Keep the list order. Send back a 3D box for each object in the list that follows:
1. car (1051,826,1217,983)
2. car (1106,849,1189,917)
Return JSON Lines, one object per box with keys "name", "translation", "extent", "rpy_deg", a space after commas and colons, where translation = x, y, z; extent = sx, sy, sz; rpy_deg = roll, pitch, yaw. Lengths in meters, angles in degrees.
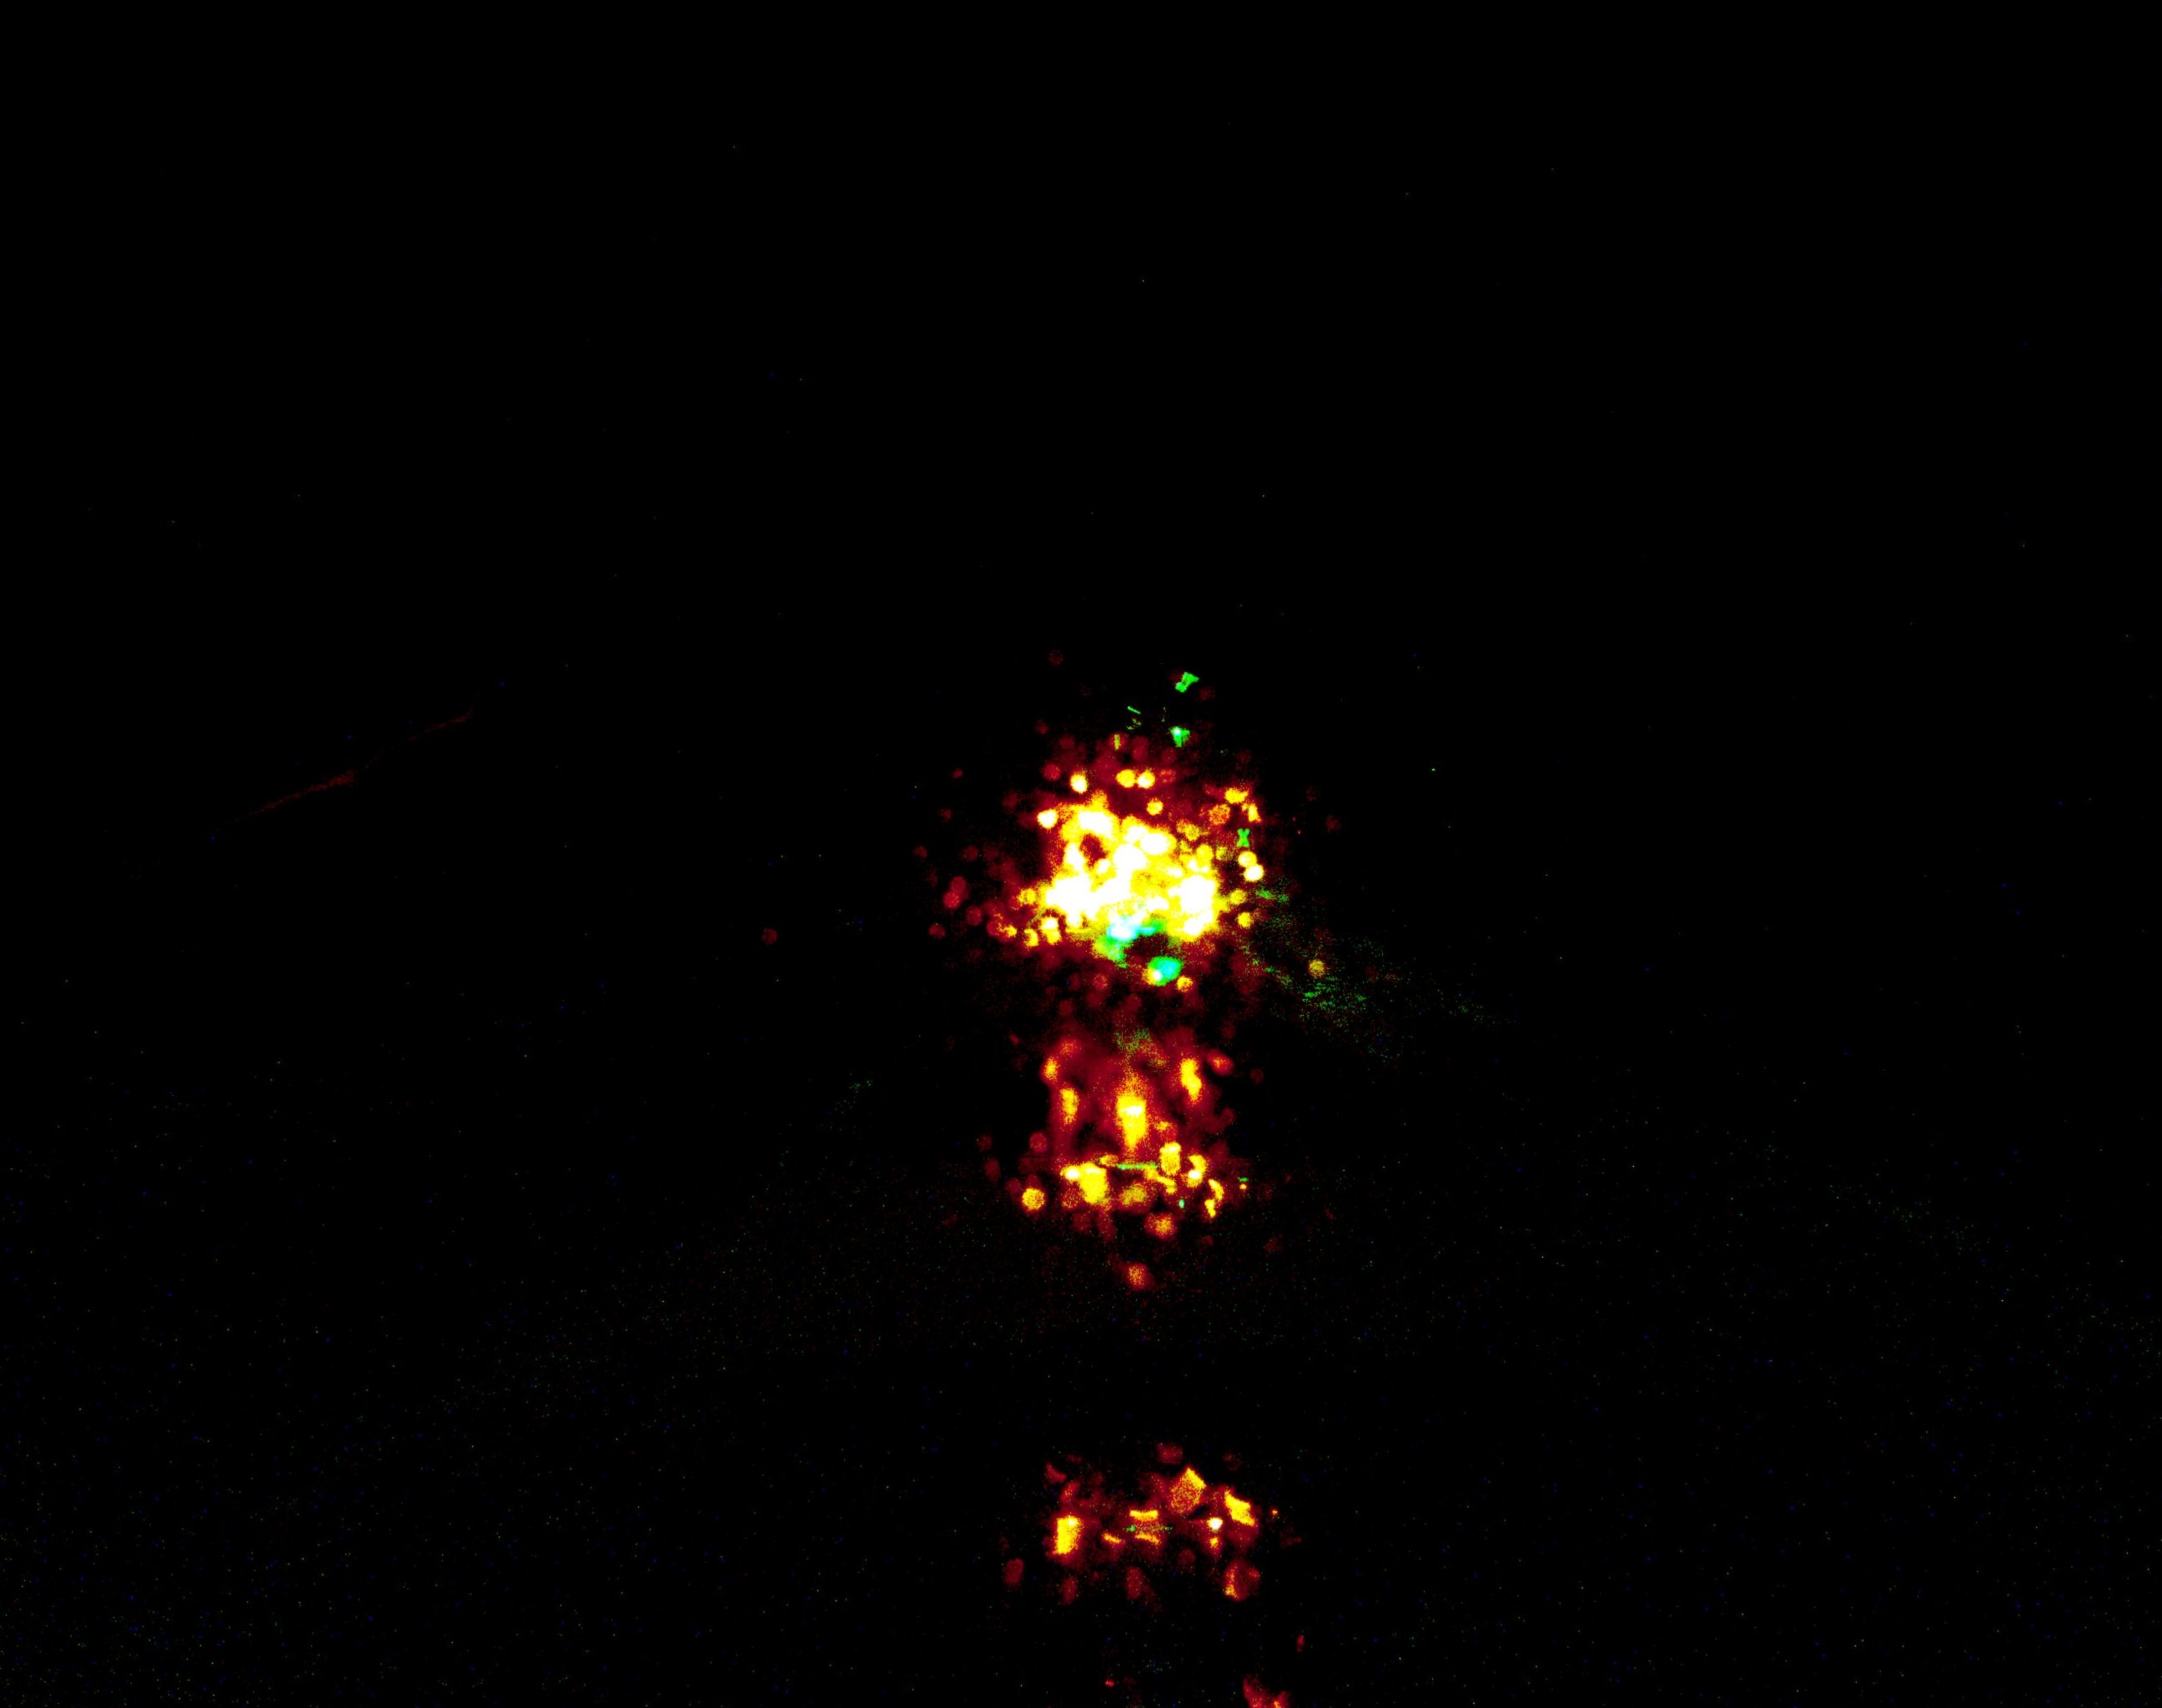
{"name": "car", "translation": [0.718, 0.535, 10.869], "extent": [1.783, 1.681, 3.909], "rpy_deg": [-1, 1, 4]}
{"name": "car", "translation": [1.635, 0.620, 19.431], "extent": [1.735, 1.415, 4.007], "rpy_deg": [-2, 0, 6]}
